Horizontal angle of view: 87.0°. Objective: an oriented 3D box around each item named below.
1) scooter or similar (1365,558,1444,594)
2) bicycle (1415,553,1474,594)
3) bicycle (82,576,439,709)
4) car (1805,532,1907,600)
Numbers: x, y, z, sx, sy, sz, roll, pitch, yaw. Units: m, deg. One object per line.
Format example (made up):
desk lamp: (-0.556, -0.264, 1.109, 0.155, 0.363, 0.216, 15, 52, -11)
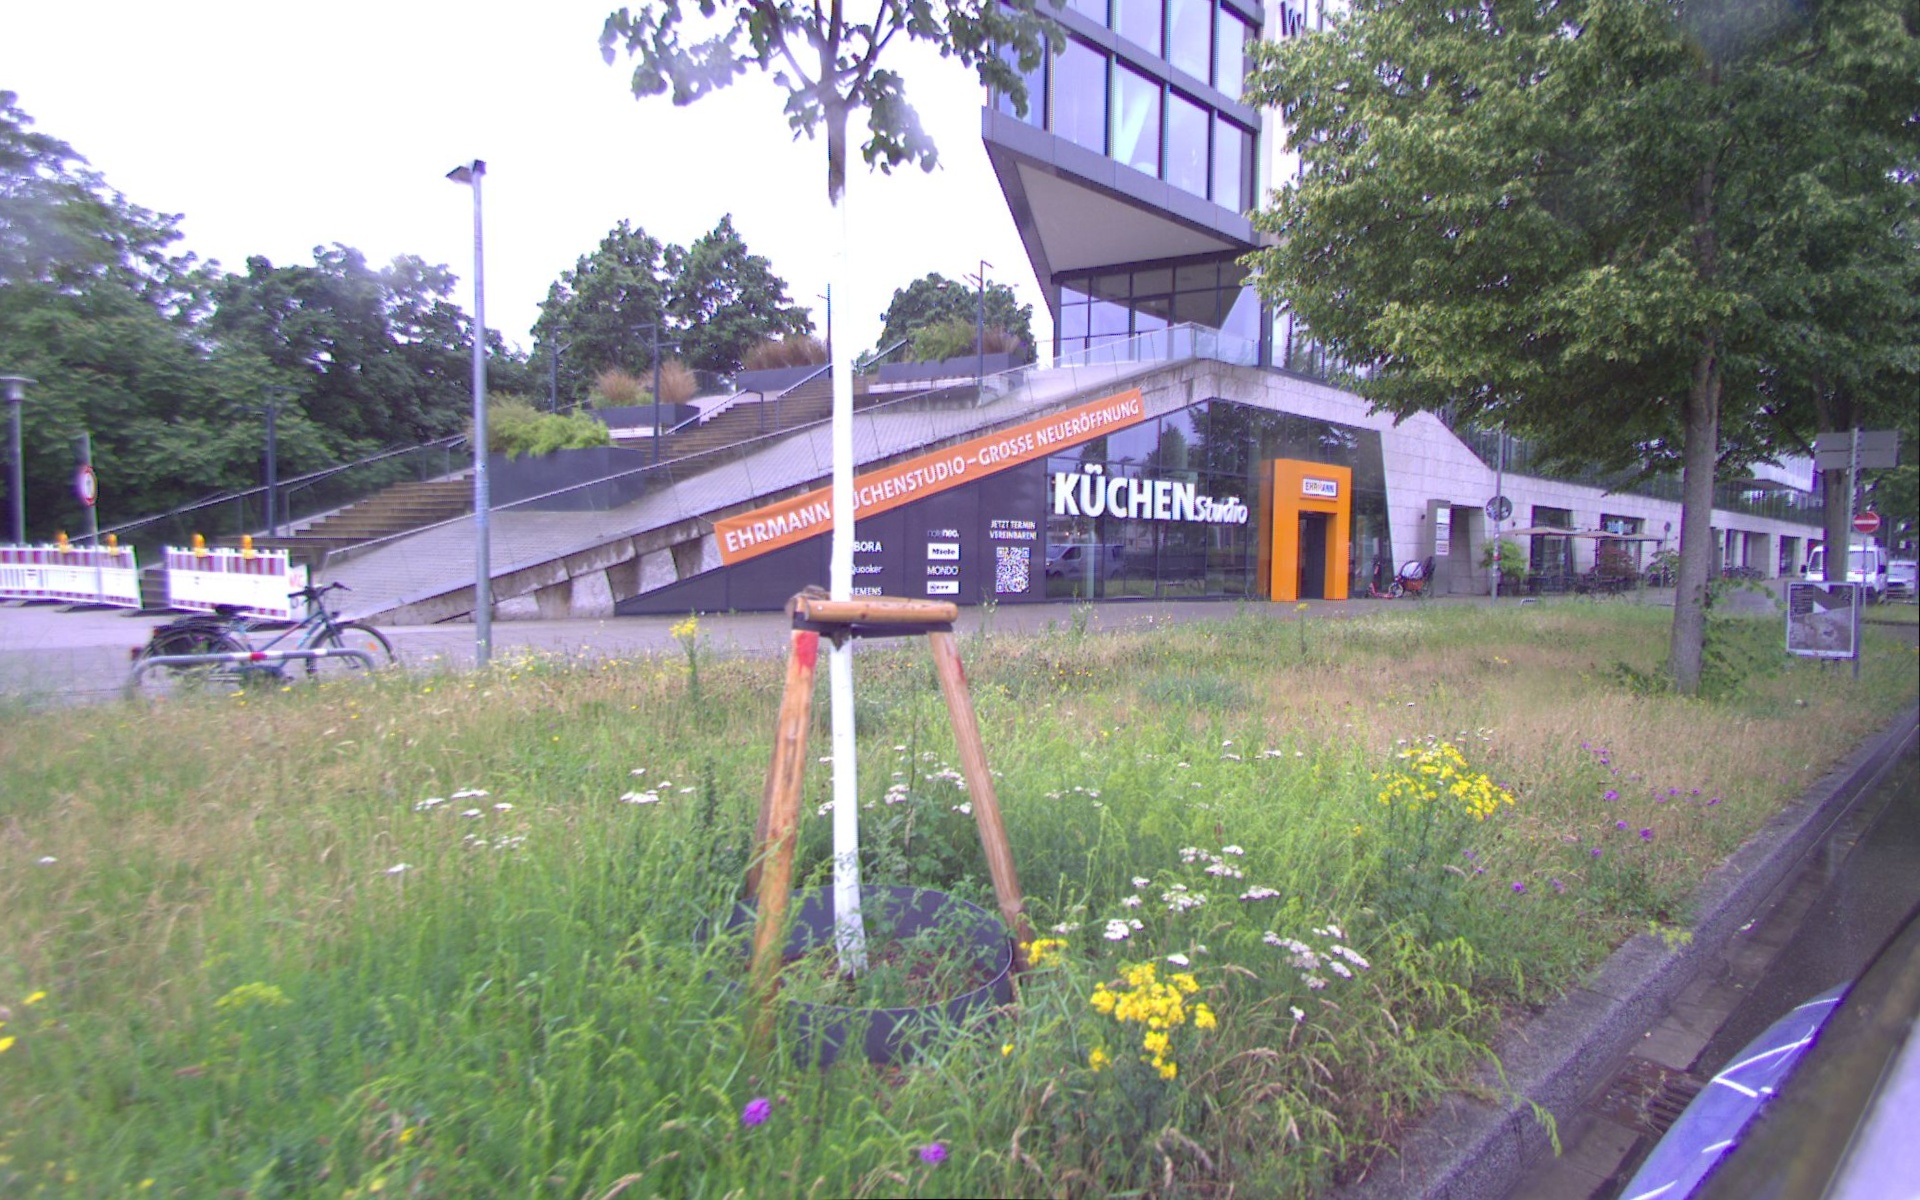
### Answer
scooter or similar: (14.545, -0.787, 33.117, 2.560, 1.113, 0.814, -2, 1, -23)
bicycle: (16.769, -0.926, 35.003, 2.650, 1.364, 0.882, -2, 1, -41)
bicycle: (-5.139, 0.253, 7.563, 2.128, 0.857, 0.635, -1, 2, -44)
car: (31.688, -1.202, 35.754, 5.009, 2.229, 2.082, -2, 1, -41)
